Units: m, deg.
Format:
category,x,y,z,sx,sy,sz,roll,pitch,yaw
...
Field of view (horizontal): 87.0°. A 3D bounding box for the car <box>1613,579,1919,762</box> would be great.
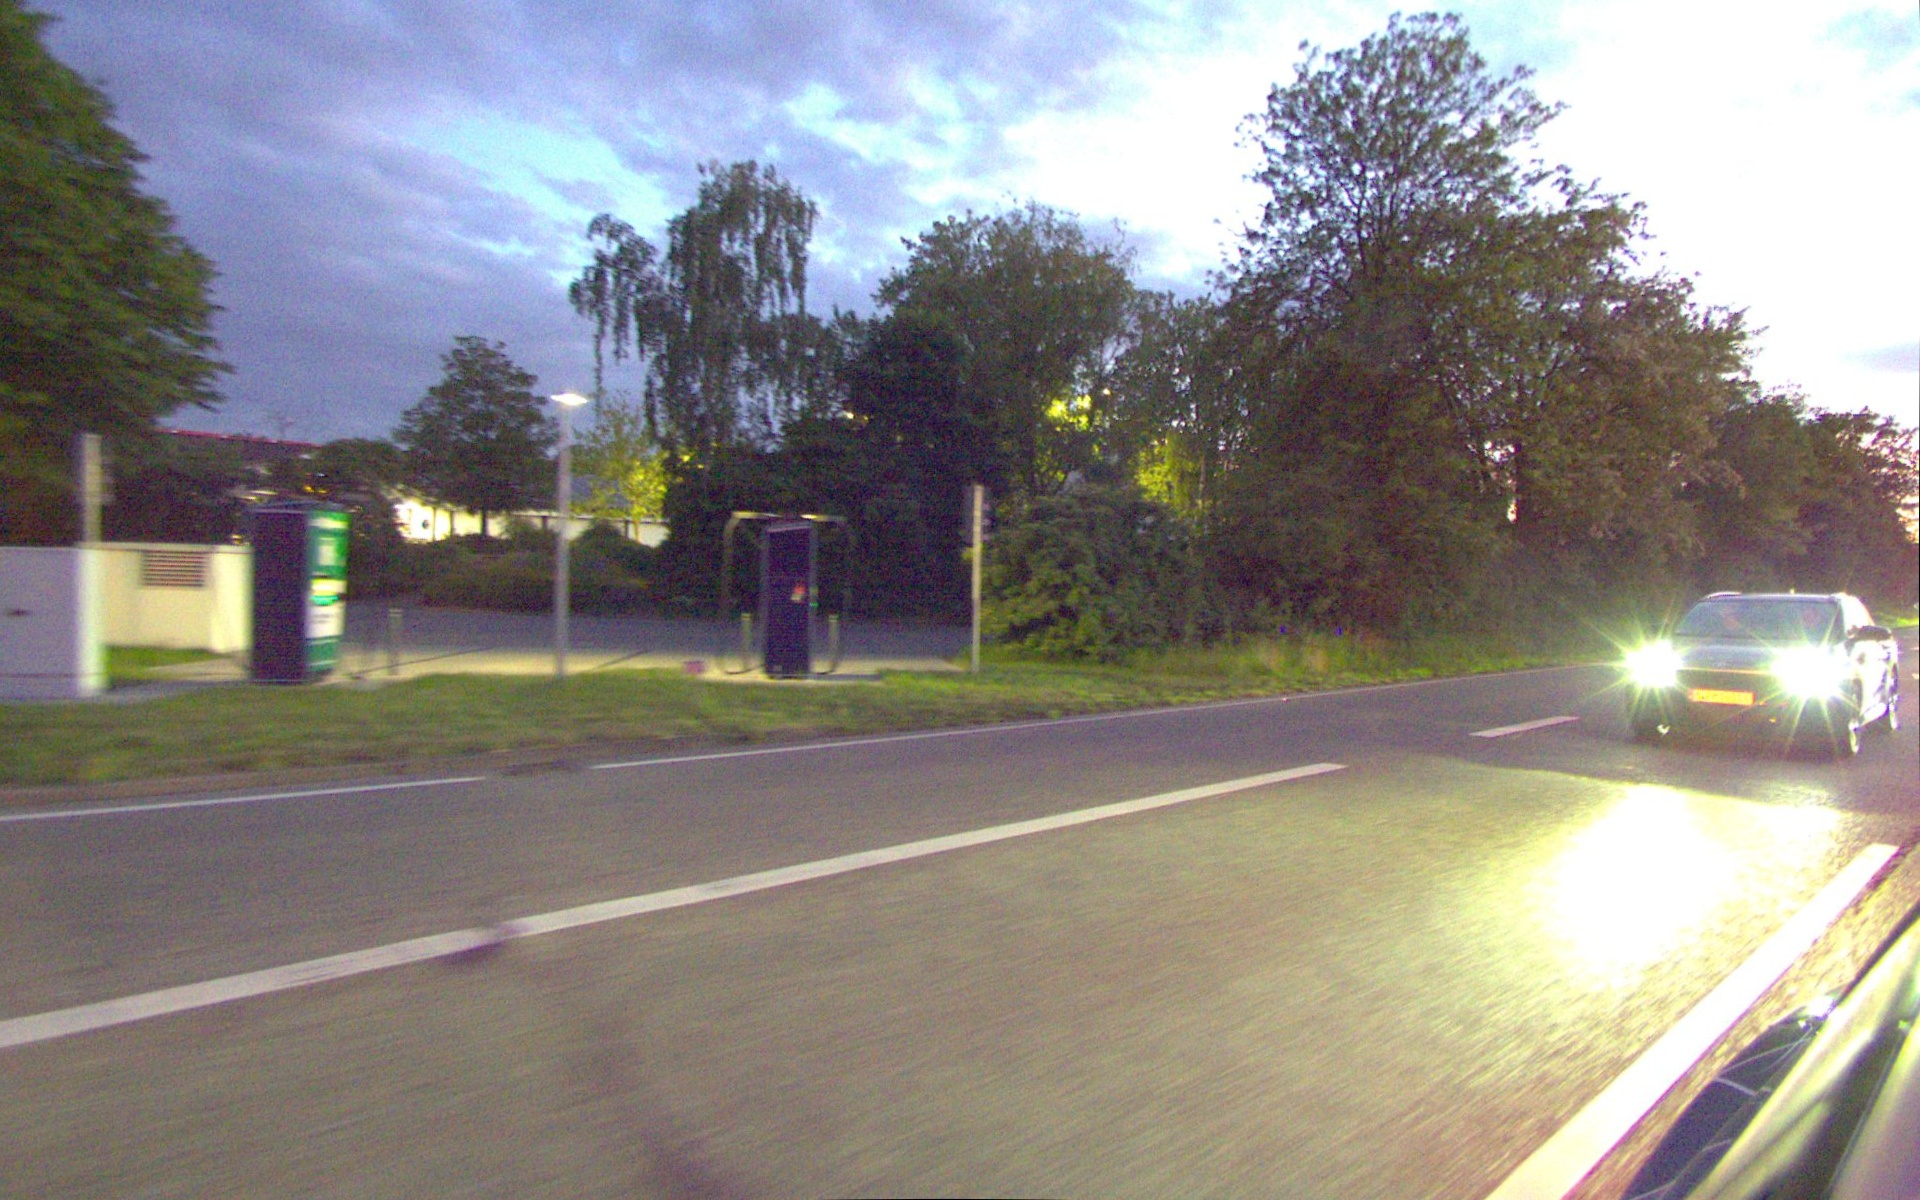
category,x,y,z,sx,sy,sz,roll,pitch,yaw
car,9.207,0.621,11.322,4.629,1.630,1.997,0,0,-41
